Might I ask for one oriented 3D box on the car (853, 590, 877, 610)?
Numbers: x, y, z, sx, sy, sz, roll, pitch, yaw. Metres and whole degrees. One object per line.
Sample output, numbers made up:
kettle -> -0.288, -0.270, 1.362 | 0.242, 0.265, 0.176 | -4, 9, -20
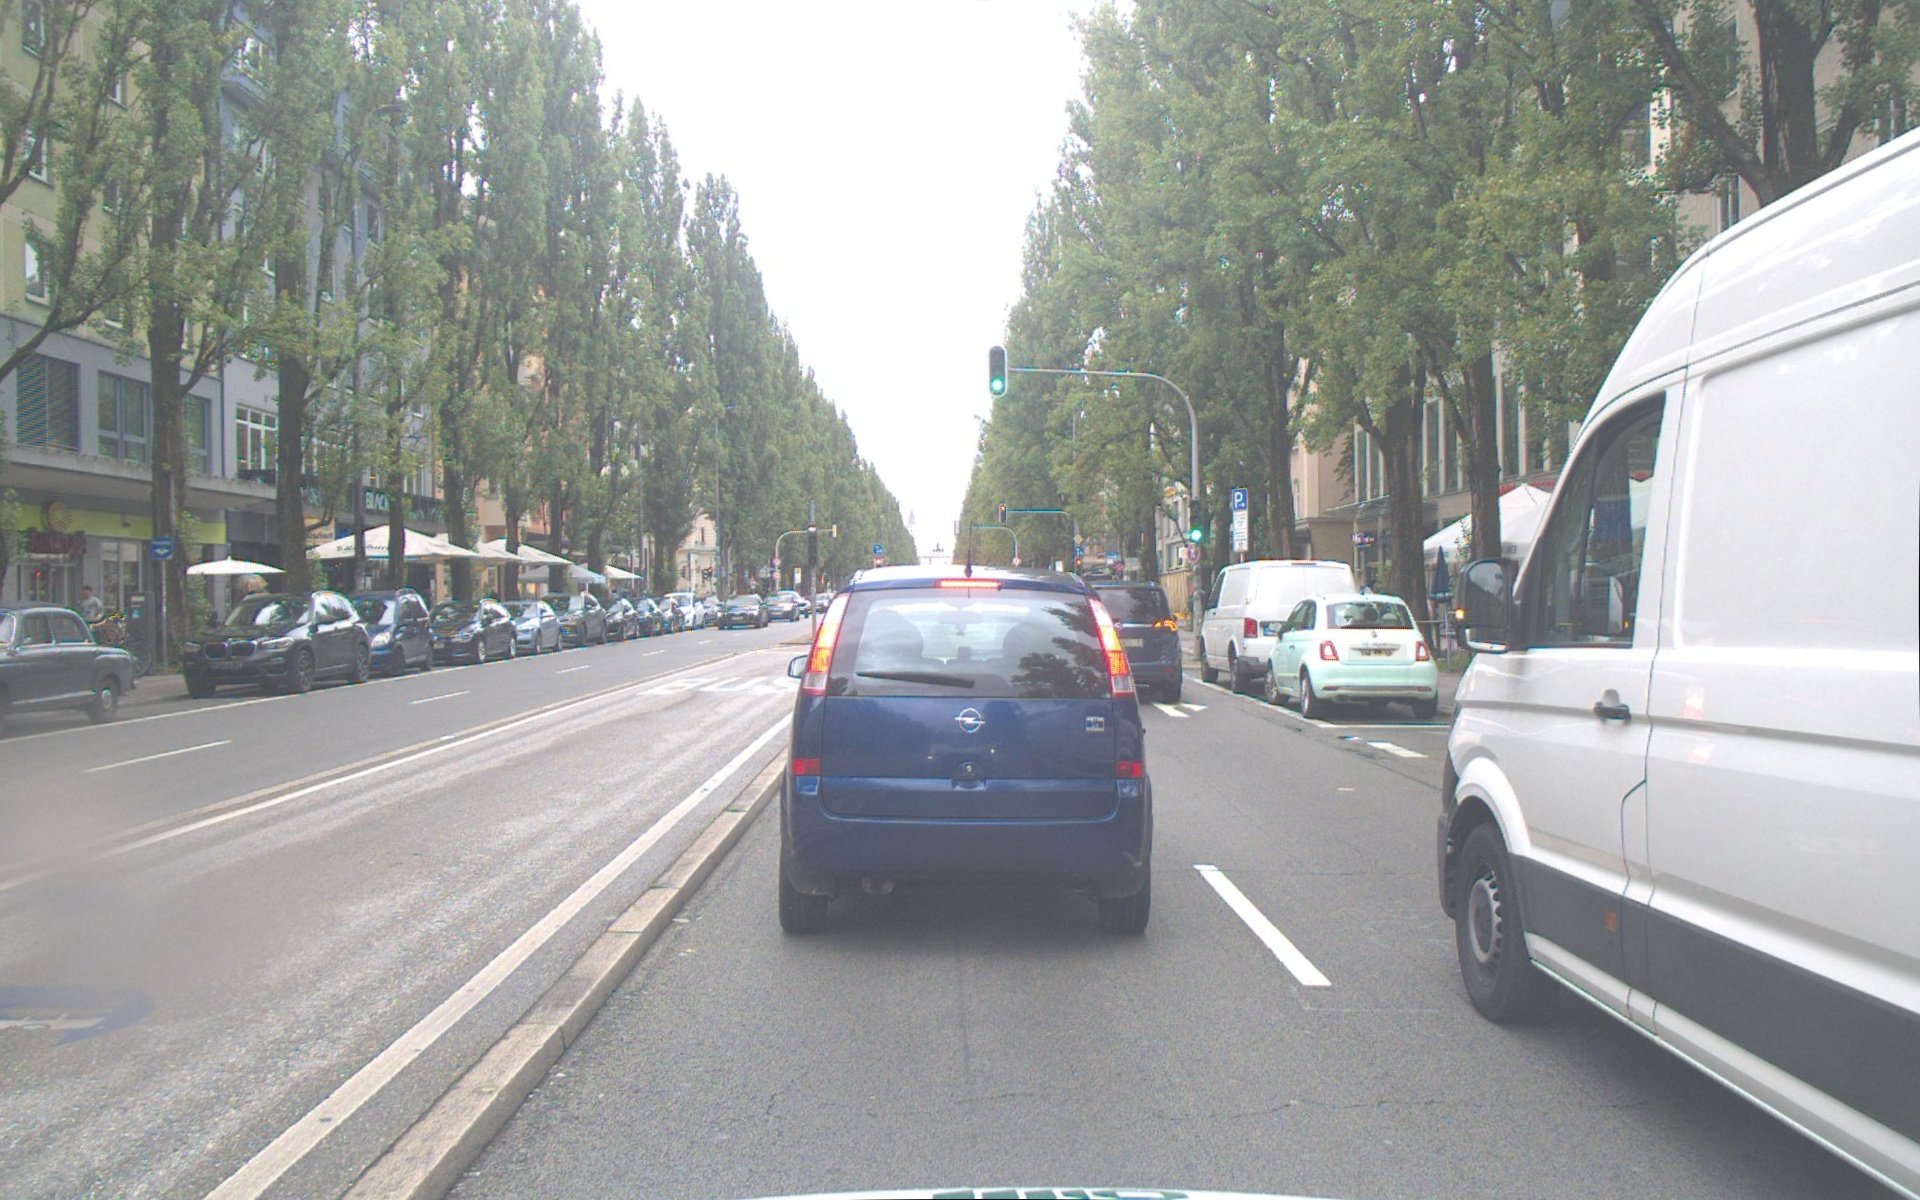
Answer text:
car -> -7.286, -0.003, 126.733 | 1.699, 1.491, 3.365 | -1, 0, -1

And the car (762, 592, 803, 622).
car -> -9.384, 0.349, 87.737 | 1.710, 1.459, 4.129 | -2, 0, -1

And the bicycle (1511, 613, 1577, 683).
bicycle -> 8.776, 0.707, 24.887 | 0.342, 1.013, 1.453 | -2, 0, -4

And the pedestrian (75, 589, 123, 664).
pedestrian -> -20.217, 0.621, 38.862 | 0.740, 1.715, 0.675 | -1, -1, 0

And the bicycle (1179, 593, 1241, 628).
bicycle -> 9.163, 0.366, 60.665 | 2.182, 1.225, 0.626 | -1, 0, -3

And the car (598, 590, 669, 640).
car -> -12.111, 0.521, 61.634 | 1.828, 1.694, 4.119 | -2, 0, -1

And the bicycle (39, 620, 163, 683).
bicycle -> -16.191, 0.968, 31.222 | 1.909, 1.114, 0.718 | 2, 0, -7

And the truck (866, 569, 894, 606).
truck -> -7.521, -1.146, 156.100 | 2.334, 3.405, 7.109 | -1, 0, -1

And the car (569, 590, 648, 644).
car -> -11.967, 0.548, 56.576 | 1.828, 1.694, 4.119 | -2, 0, -1

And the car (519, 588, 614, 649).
car -> -11.905, 0.514, 50.260 | 1.828, 1.694, 4.400 | -2, 0, -1

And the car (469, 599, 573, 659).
car -> -11.805, 0.752, 44.736 | 1.698, 1.450, 4.143 | -2, 0, -1

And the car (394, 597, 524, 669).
car -> -11.756, 0.729, 39.093 | 1.762, 1.514, 4.349 | -2, 0, -1

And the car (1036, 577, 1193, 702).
car -> 2.147, 0.512, 23.949 | 1.858, 1.650, 4.000 | 0, 0, -1

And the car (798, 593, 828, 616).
car -> -10.865, 0.319, 122.414 | 1.828, 1.695, 4.119 | -1, 0, -1

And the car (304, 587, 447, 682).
car -> -11.875, 0.658, 33.856 | 1.676, 1.751, 3.919 | -2, 0, -4

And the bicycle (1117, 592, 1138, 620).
bicycle -> 8.415, 0.301, 83.191 | 0.757, 1.372, 2.449 | -1, 0, -1

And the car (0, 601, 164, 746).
car -> -11.678, 0.863, 20.136 | 1.828, 1.579, 4.413 | -2, 0, -1

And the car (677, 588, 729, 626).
car -> -12.342, 0.305, 79.694 | 1.828, 1.694, 4.119 | -2, 0, -1

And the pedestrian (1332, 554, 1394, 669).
pedestrian -> 6.466, 0.177, 26.574 | 0.810, 1.804, 0.871 | -1, 0, 4

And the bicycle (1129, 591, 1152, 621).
bicycle -> 8.388, 0.273, 76.952 | 0.757, 1.372, 2.449 | -1, 0, -1

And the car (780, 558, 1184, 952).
car -> 0.073, 0.614, 8.706 | 1.637, 1.596, 4.000 | 0, 0, -1

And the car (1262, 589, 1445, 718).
car -> 4.966, 0.620, 21.274 | 1.509, 1.518, 3.523 | 0, 0, 0

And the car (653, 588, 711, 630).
car -> -12.155, 0.365, 72.422 | 1.828, 1.694, 4.119 | -2, 0, -1

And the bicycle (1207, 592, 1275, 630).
bicycle -> 9.576, 0.378, 56.380 | 2.182, 1.225, 0.626 | -1, 0, -3

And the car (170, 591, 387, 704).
car -> -11.588, 0.737, 28.489 | 1.828, 1.693, 4.610 | -2, 0, -1

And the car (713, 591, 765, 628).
car -> -9.655, 0.377, 72.685 | 1.663, 1.488, 4.712 | -2, 0, -1

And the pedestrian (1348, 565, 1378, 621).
pedestrian -> 12.457, -0.205, 51.091 | 0.660, 1.715, 0.758 | -1, -1, -5

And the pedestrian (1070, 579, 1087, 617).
pedestrian -> 5.847, -0.087, 81.855 | 0.625, 1.859, 0.885 | 1, 0, -11

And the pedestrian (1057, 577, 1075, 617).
pedestrian -> 4.977, -0.156, 77.516 | 0.625, 1.859, 0.885 | 1, 0, -11

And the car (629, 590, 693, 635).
car -> -12.090, 0.482, 67.162 | 1.828, 1.694, 4.119 | -2, 0, -1

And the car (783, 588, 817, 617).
car -> -9.724, 0.151, 101.008 | 1.735, 1.663, 4.454 | -2, 0, -2

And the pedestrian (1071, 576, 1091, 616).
pedestrian -> 5.675, -0.190, 77.660 | 0.707, 1.859, 0.885 | 1, 0, -11

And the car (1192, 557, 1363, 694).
car -> 4.937, 0.350, 26.332 | 1.751, 1.980, 4.730 | 0, 0, -1

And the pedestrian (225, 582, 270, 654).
pedestrian -> -17.217, 0.434, 39.978 | 0.740, 1.715, 0.675 | -1, -1, 0

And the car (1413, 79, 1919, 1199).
car -> 2.916, 0.232, 3.501 | 2.021, 2.536, 6.729 | 0, 0, -1
